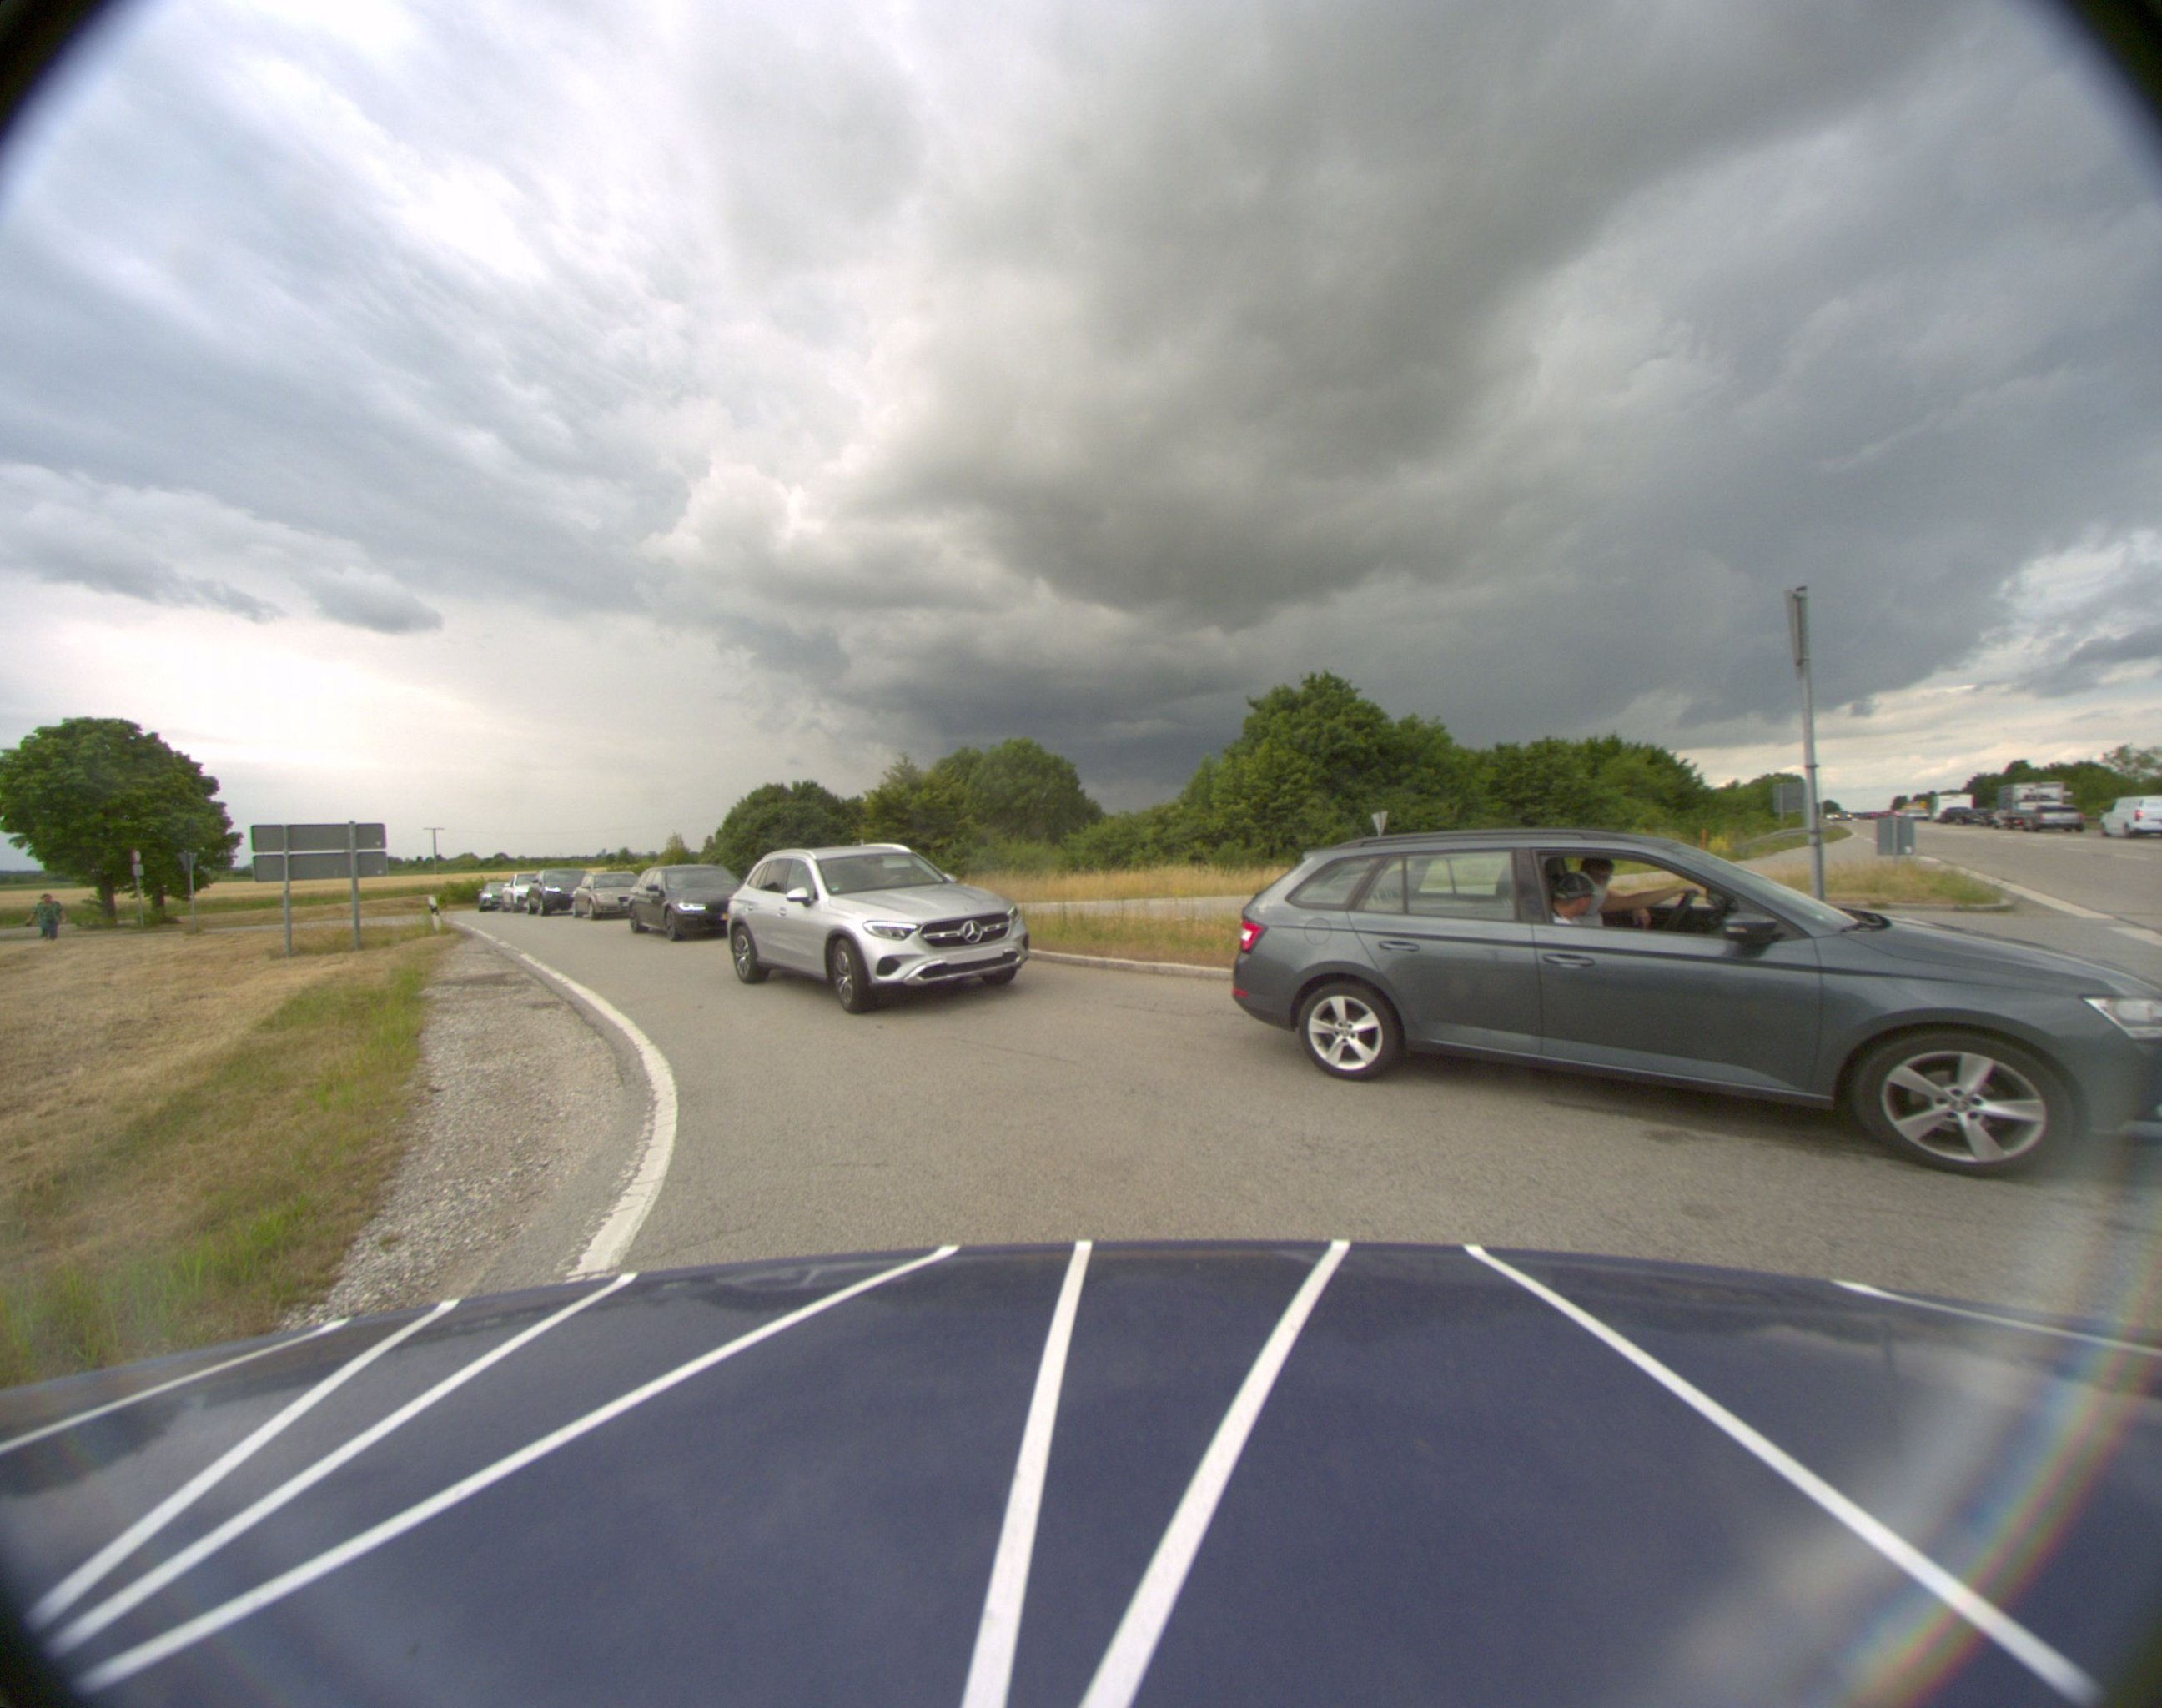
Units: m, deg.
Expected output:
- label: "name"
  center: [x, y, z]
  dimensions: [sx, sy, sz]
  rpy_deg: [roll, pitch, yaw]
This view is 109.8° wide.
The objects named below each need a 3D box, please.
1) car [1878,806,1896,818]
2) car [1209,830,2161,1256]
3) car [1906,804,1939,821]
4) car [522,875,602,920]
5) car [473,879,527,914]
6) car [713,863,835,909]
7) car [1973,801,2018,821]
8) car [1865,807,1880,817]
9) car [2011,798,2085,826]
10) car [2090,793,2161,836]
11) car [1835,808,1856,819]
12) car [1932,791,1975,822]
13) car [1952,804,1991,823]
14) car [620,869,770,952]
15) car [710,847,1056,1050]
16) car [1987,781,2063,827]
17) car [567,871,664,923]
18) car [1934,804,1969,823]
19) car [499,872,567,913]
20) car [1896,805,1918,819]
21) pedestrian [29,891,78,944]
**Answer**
- label: "car"
  center: [133.019, -6.930, 125.386]
  dimensions: [1.853, 1.740, 4.008]
  rpy_deg: [-1, 1, 44]
- label: "car"
  center: [3.005, 0.693, 4.310]
  dimensions: [4.105, 1.439, 1.722]
  rpy_deg: [-2, 2, 37]
- label: "car"
  center: [103.701, -5.143, 93.646]
  dimensions: [2.334, 1.911, 4.885]
  rpy_deg: [-1, 1, 43]
- label: "car"
  center: [-19.026, 1.515, 27.789]
  dimensions: [1.725, 1.346, 4.202]
  rpy_deg: [-6, 3, -42]
- label: "car"
  center: [-29.464, 2.096, 38.479]
  dimensions: [1.725, 1.486, 4.202]
  rpy_deg: [-6, 3, -42]
- label: "car"
  center: [-10.873, 1.108, 26.838]
  dimensions: [4.380, 1.443, 1.775]
  rpy_deg: [-1, 1, 34]
- label: "car"
  center: [74.203, -3.480, 61.703]
  dimensions: [1.843, 1.516, 4.008]
  rpy_deg: [-1, 1, 44]
- label: "car"
  center: [150.459, -7.999, 144.417]
  dimensions: [1.853, 1.740, 4.008]
  rpy_deg: [-1, 1, 44]
- label: "car"
  center: [58.099, -2.492, 45.745]
  dimensions: [1.994, 1.615, 4.269]
  rpy_deg: [2, 3, 42]
- label: "car"
  center: [49.463, -1.832, 35.346]
  dimensions: [2.107, 1.875, 5.401]
  rpy_deg: [0, 2, 43]
- label: "car"
  center: [111.159, -5.863, 110.501]
  dimensions: [1.994, 1.474, 4.007]
  rpy_deg: [-1, 2, 43]
- label: "car"
  center: [94.149, -5.065, 82.102]
  dimensions: [2.334, 3.011, 6.570]
  rpy_deg: [-1, 1, 43]
- label: "car"
  center: [80.268, -3.636, 68.540]
  dimensions: [1.843, 1.516, 4.008]
  rpy_deg: [-1, 1, 43]
- label: "car"
  center: [-8.344, 1.079, 16.180]
  dimensions: [1.725, 1.346, 4.682]
  rpy_deg: [-6, 3, -40]
- label: "car"
  center: [-2.483, 0.817, 8.686]
  dimensions: [2.000, 1.578, 4.382]
  rpy_deg: [-6, 3, -41]
- label: "car"
  center: [65.788, -3.403, 53.081]
  dimensions: [2.334, 3.012, 6.570]
  rpy_deg: [2, 3, 43]
- label: "car"
  center: [-14.414, 1.259, 23.414]
  dimensions: [1.725, 1.345, 4.202]
  rpy_deg: [-3, 1, -42]
- label: "car"
  center: [85.883, -3.952, 74.972]
  dimensions: [1.853, 1.740, 4.008]
  rpy_deg: [-1, 1, 43]
- label: "car"
  center: [-23.548, 1.577, 32.562]
  dimensions: [1.725, 1.486, 4.625]
  rpy_deg: [-6, 3, -42]
- label: "car"
  center: [120.057, -6.085, 110.508]
  dimensions: [1.792, 2.002, 4.008]
  rpy_deg: [-1, 1, 42]
- label: "pedestrian"
  center: [-32.764, 2.018, 24.230]
  dimensions: [0.942, 1.602, 0.775]
  rpy_deg: [-1, 1, 30]
